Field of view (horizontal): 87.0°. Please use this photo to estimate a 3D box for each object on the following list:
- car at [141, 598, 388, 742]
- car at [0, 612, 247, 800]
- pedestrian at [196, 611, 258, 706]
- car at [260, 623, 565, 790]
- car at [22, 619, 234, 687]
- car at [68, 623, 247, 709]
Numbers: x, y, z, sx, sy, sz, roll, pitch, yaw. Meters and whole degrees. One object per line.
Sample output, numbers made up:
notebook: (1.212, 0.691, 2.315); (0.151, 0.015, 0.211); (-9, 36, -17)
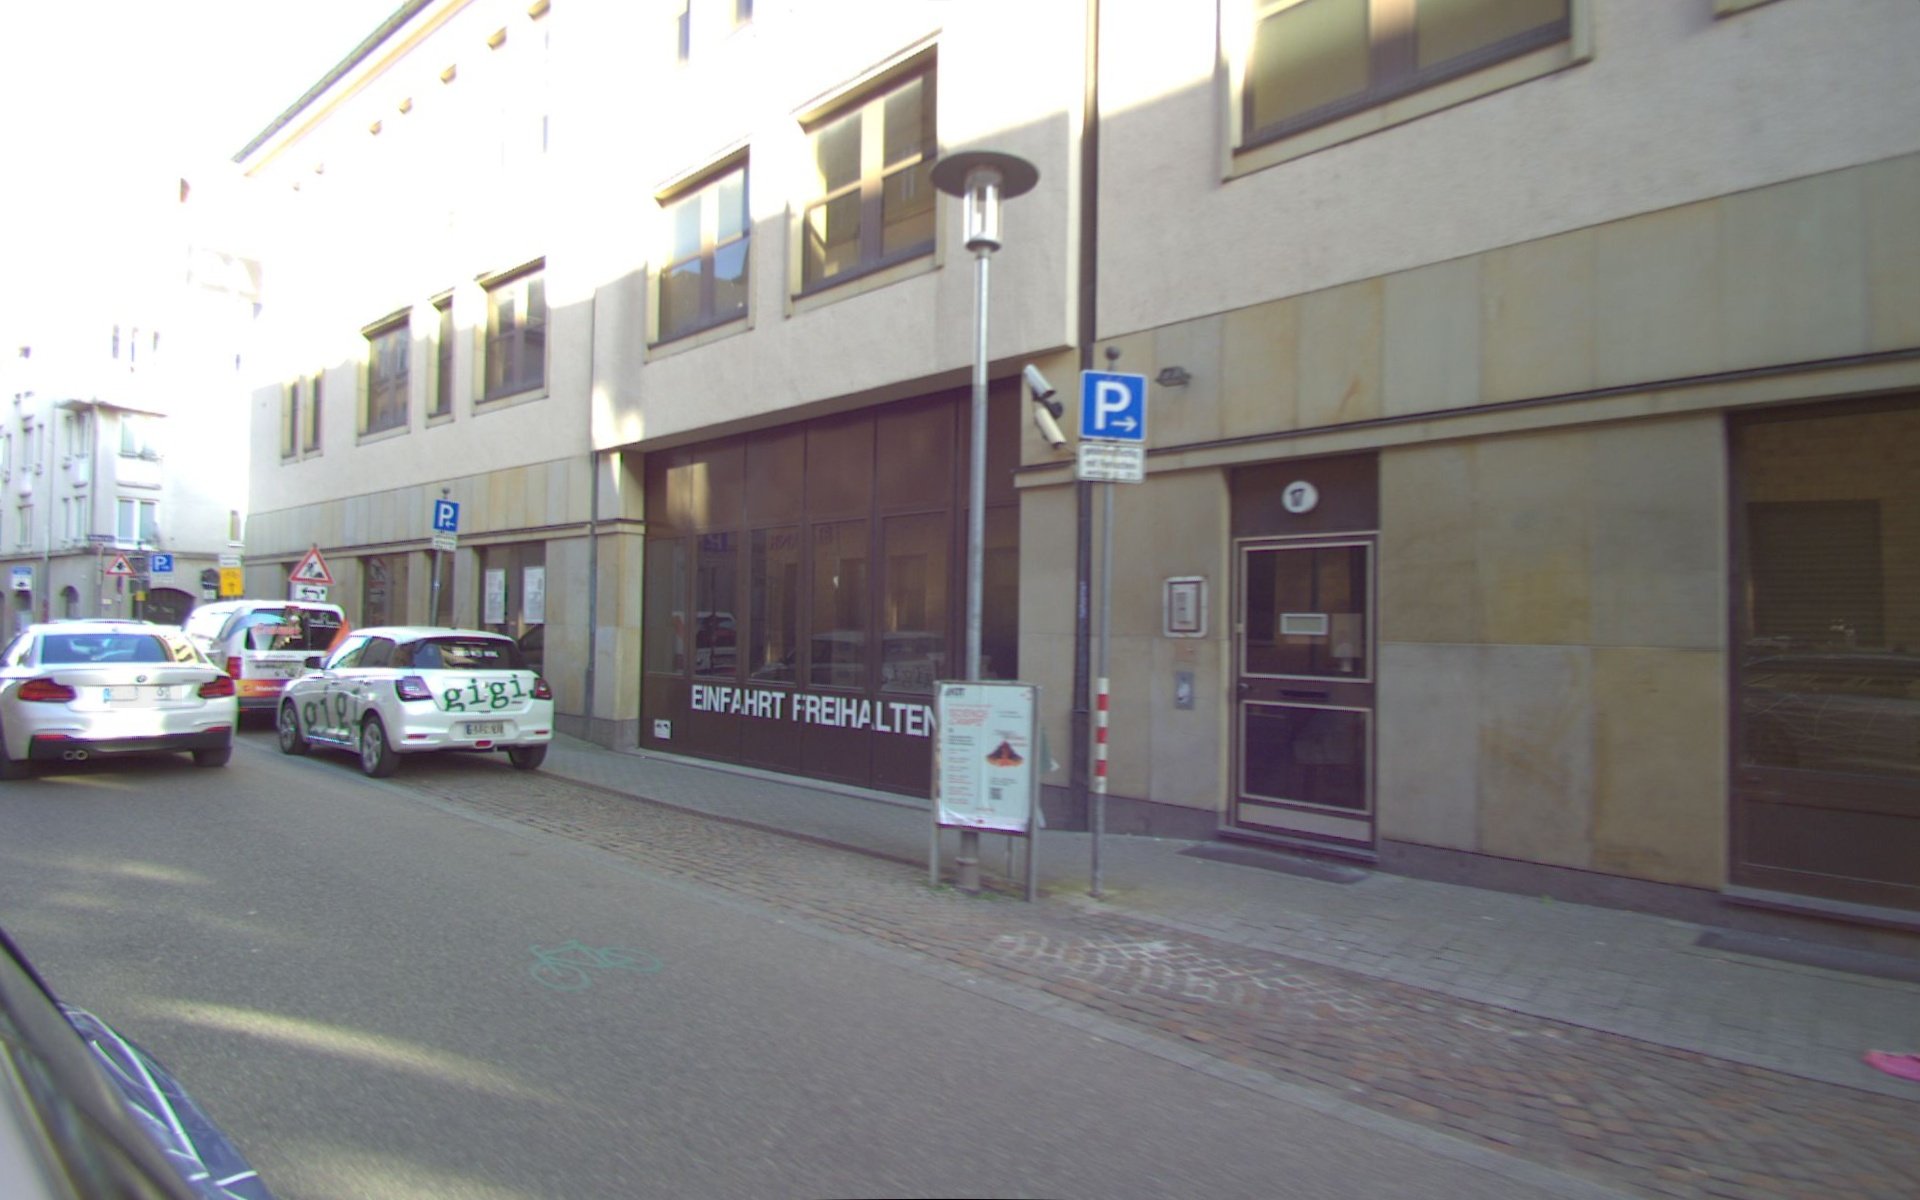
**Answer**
car: (-10.738, 1.007, 15.482); (4.730, 1.872, 1.880); (-1, -4, 41)
car: (-8.899, 0.928, 10.218); (4.156, 1.529, 1.697); (-1, -3, 40)
pedestrian: (-15.008, 1.188, 20.720); (0.861, 1.868, 0.707); (0, -3, 38)
car: (-6.158, 1.076, 11.234); (3.773, 1.534, 1.652); (-1, -5, 40)
car: (-20.655, 1.328, 25.322); (3.935, 1.558, 1.767); (3, -3, -38)
car: (-15.545, 1.233, 19.556); (3.793, 1.504, 1.721); (-1, -4, 37)
